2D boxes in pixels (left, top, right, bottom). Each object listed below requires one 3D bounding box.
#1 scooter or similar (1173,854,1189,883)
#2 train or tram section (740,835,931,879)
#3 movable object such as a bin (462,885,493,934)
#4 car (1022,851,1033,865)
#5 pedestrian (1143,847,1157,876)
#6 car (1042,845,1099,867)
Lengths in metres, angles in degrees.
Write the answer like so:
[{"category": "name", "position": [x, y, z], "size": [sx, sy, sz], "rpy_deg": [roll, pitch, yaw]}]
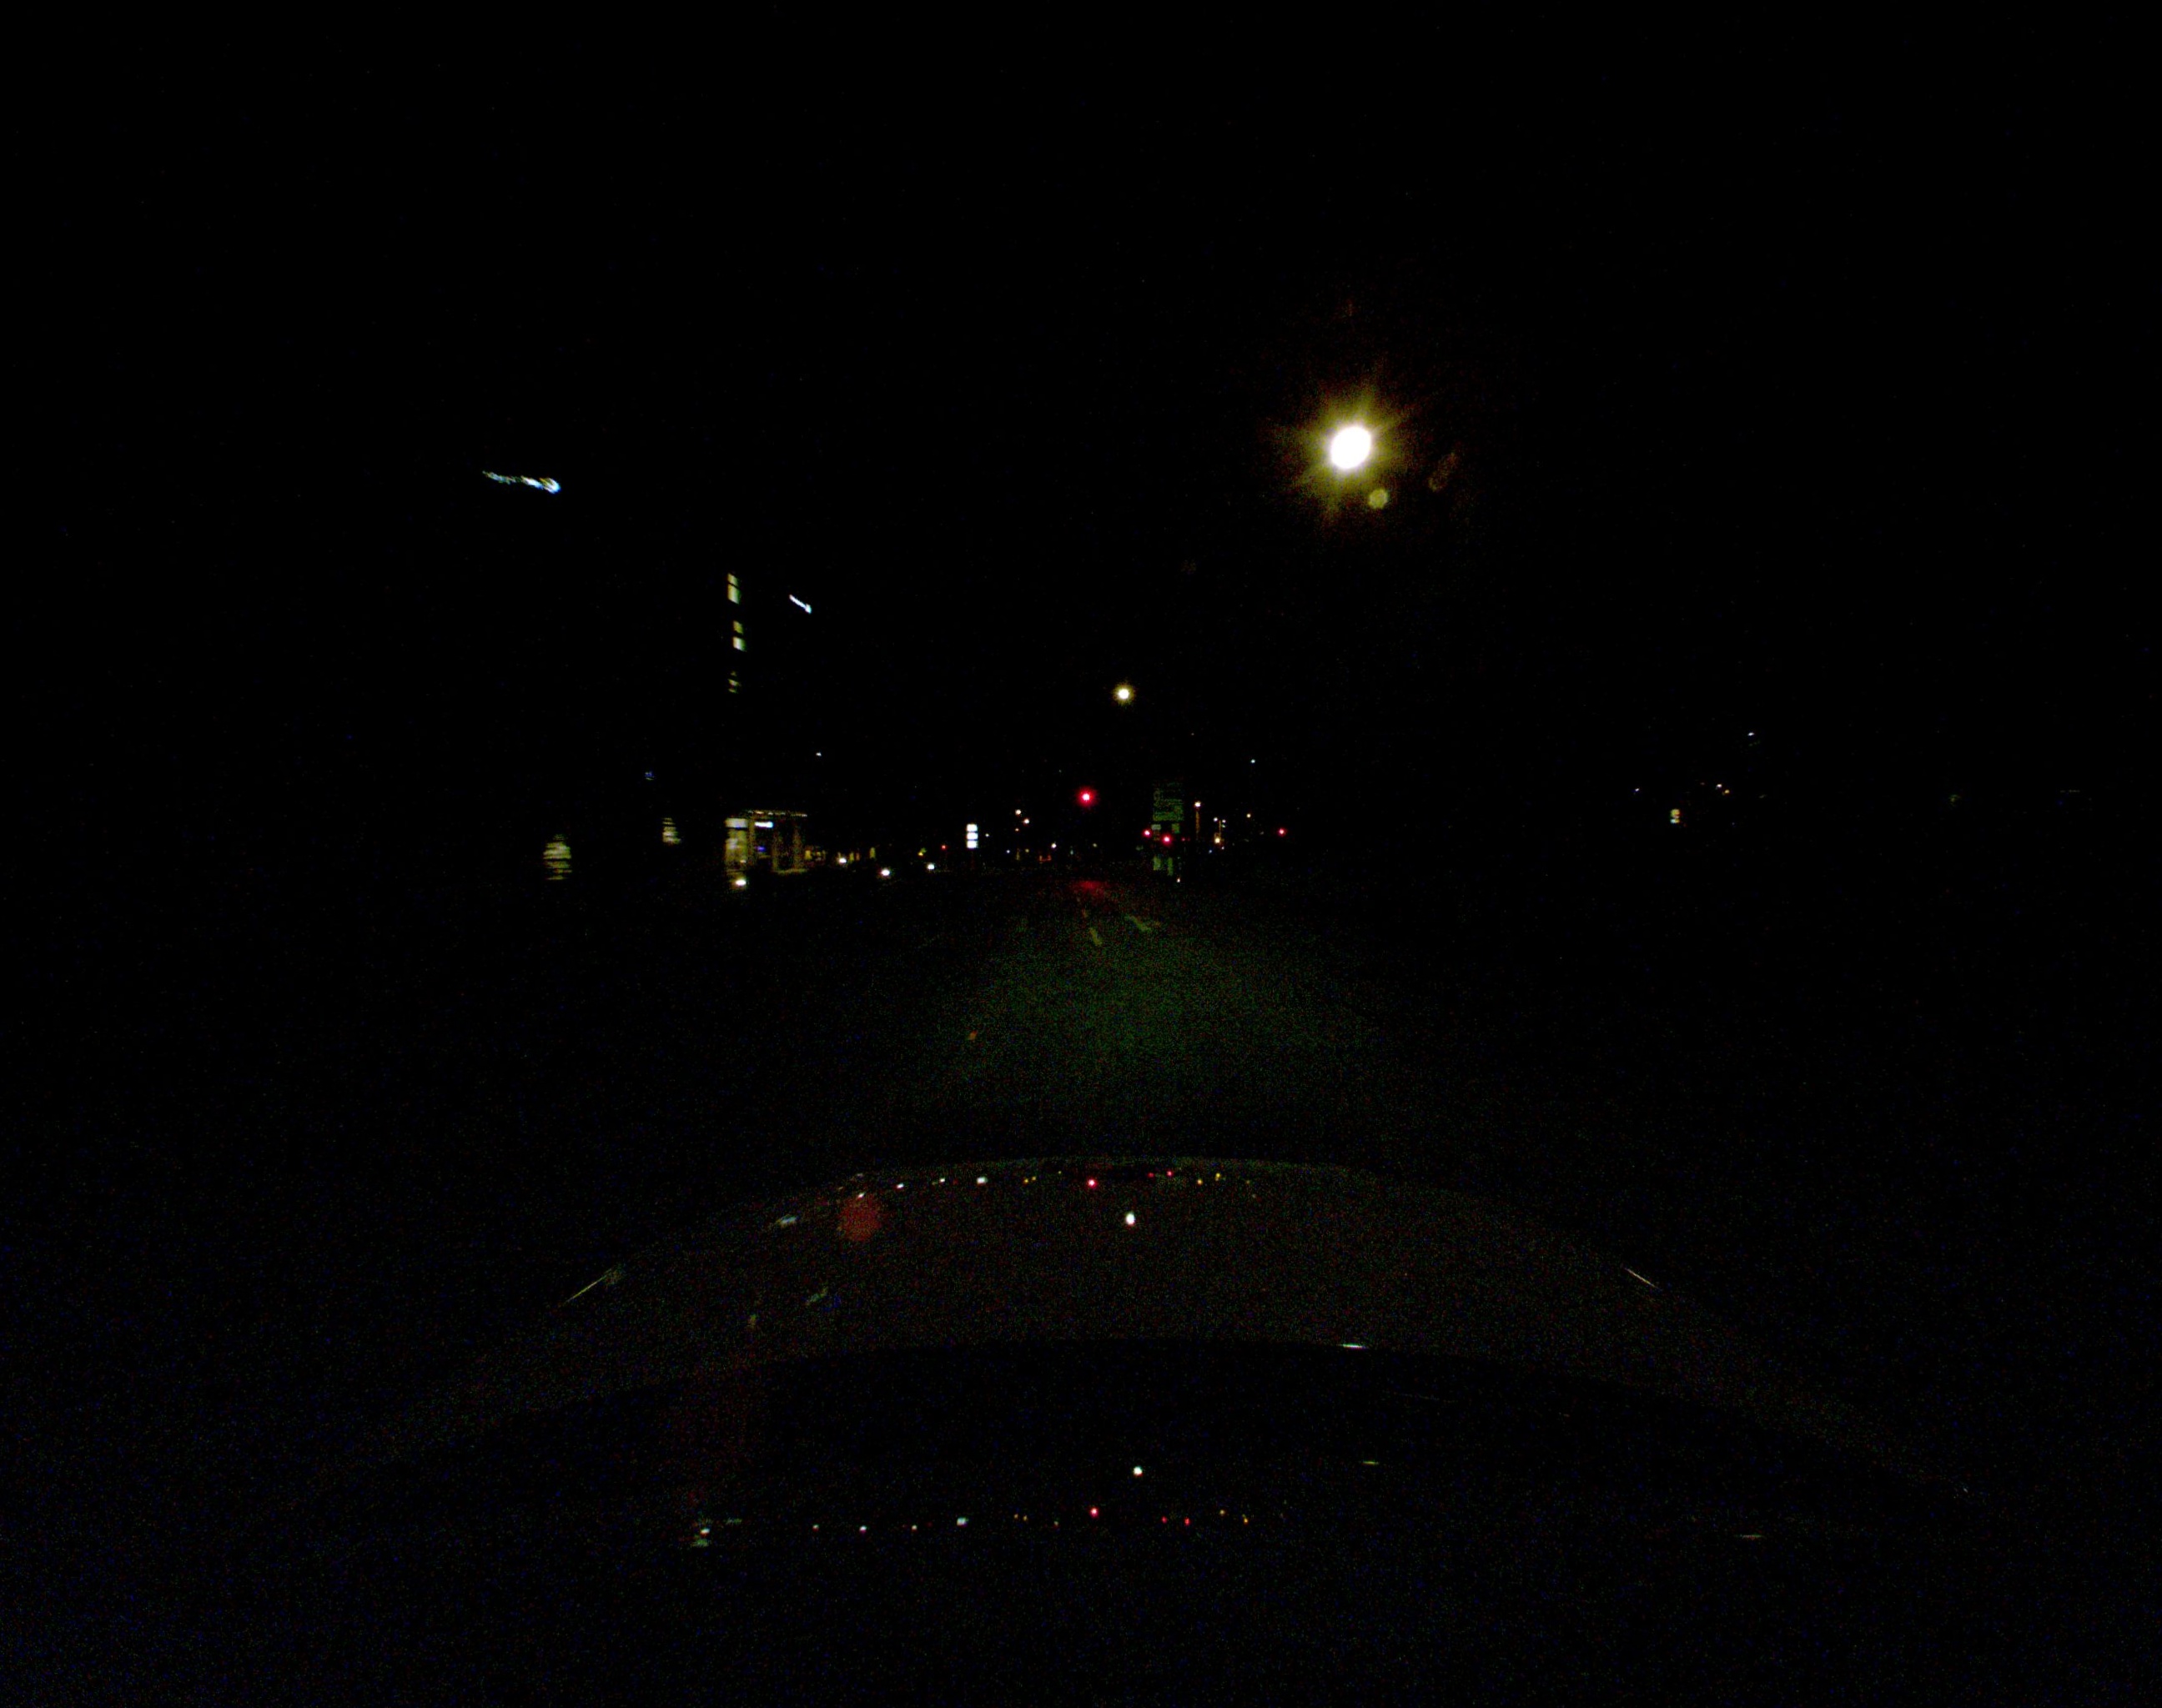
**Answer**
[{"category": "scooter or similar", "position": [4.543, 0.664, 36.939], "size": [0.492, 1.262, 1.320], "rpy_deg": [-3, 0, 0]}, {"category": "train or tram section", "position": [-25.490, 0.362, 84.819], "size": [19.085, 3.823, 2.927], "rpy_deg": [-2, 0, 4]}, {"category": "movable object such as a bin", "position": [-17.070, 1.568, 23.034], "size": [0.624, 1.307, 0.562], "rpy_deg": [-3, 0, -39]}, {"category": "car", "position": [-11.389, 0.902, 173.482], "size": [1.991, 2.974, 3.991], "rpy_deg": [-1, 0, -6]}, {"category": "pedestrian", "position": [4.779, 0.535, 56.383], "size": [0.739, 1.981, 0.622], "rpy_deg": [-1, 0, -18]}, {"category": "car", "position": [-2.422, 0.357, 186.458], "size": [12.407, 4.709, 4.784], "rpy_deg": [-1, 0, -16]}]
